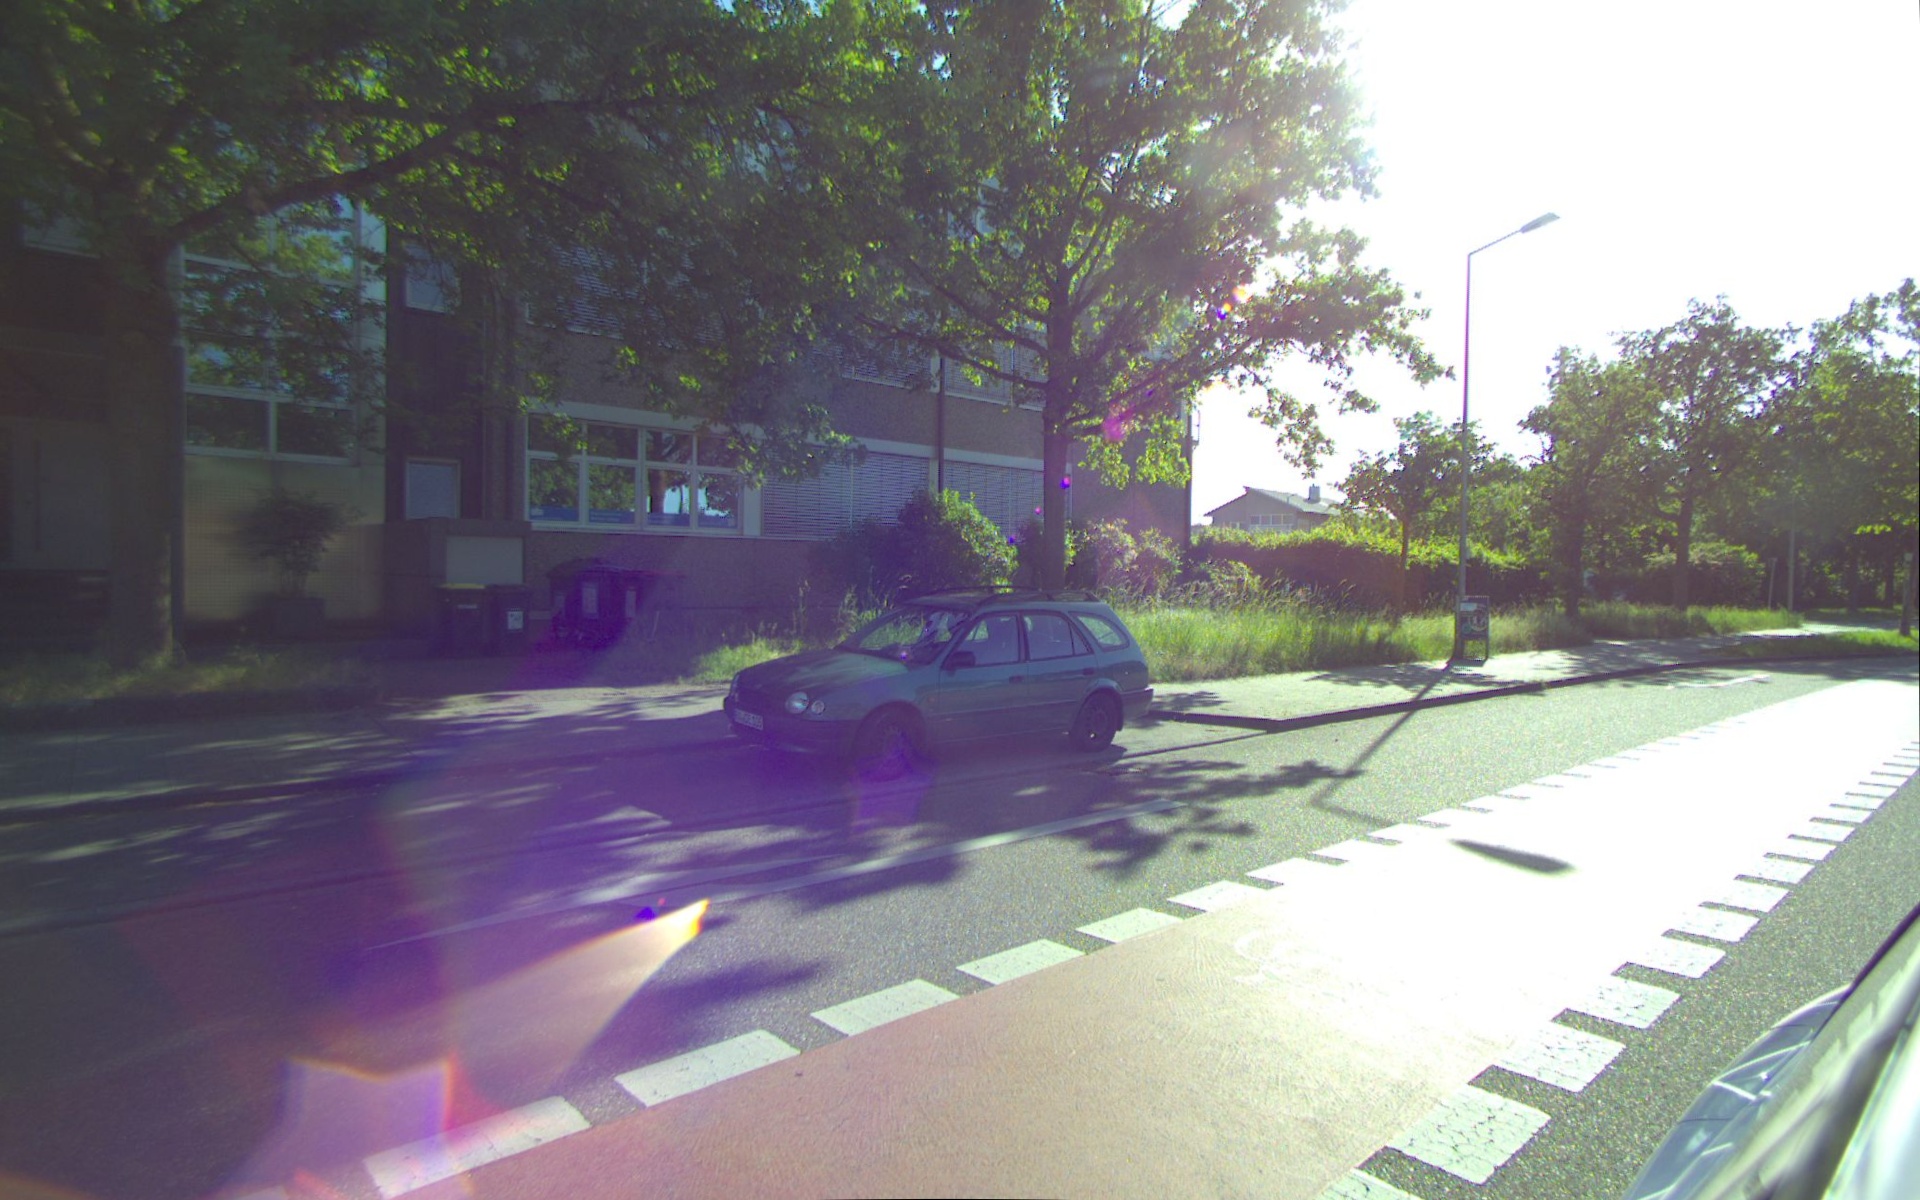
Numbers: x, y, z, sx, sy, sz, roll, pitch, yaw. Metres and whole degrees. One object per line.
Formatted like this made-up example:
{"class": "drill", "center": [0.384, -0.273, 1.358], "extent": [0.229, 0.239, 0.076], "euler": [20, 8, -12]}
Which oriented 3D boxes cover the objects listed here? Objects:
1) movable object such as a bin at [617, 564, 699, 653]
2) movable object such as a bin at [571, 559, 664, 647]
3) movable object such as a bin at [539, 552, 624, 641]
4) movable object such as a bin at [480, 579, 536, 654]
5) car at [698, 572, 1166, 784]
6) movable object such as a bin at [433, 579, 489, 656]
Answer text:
{"class": "movable object such as a bin", "center": [-4.730, 0.104, 15.808], "extent": [0.878, 1.323, 1.186], "euler": [-1, 2, -37]}
{"class": "movable object such as a bin", "center": [-5.720, 0.021, 16.895], "extent": [1.070, 1.388, 1.186], "euler": [-1, 2, -43]}
{"class": "movable object such as a bin", "center": [-6.730, -0.096, 17.976], "extent": [1.024, 1.501, 1.309], "euler": [-1, 3, -41]}
{"class": "movable object such as a bin", "center": [-6.708, 0.226, 15.013], "extent": [0.604, 1.075, 0.634], "euler": [-1, 1, -42]}
{"class": "car", "center": [-0.094, 0.560, 9.168], "extent": [4.068, 1.487, 1.705], "euler": [1, 1, -41]}
{"class": "movable object such as a bin", "center": [-7.163, 0.233, 14.532], "extent": [0.575, 1.070, 0.625], "euler": [0, 1, -42]}
